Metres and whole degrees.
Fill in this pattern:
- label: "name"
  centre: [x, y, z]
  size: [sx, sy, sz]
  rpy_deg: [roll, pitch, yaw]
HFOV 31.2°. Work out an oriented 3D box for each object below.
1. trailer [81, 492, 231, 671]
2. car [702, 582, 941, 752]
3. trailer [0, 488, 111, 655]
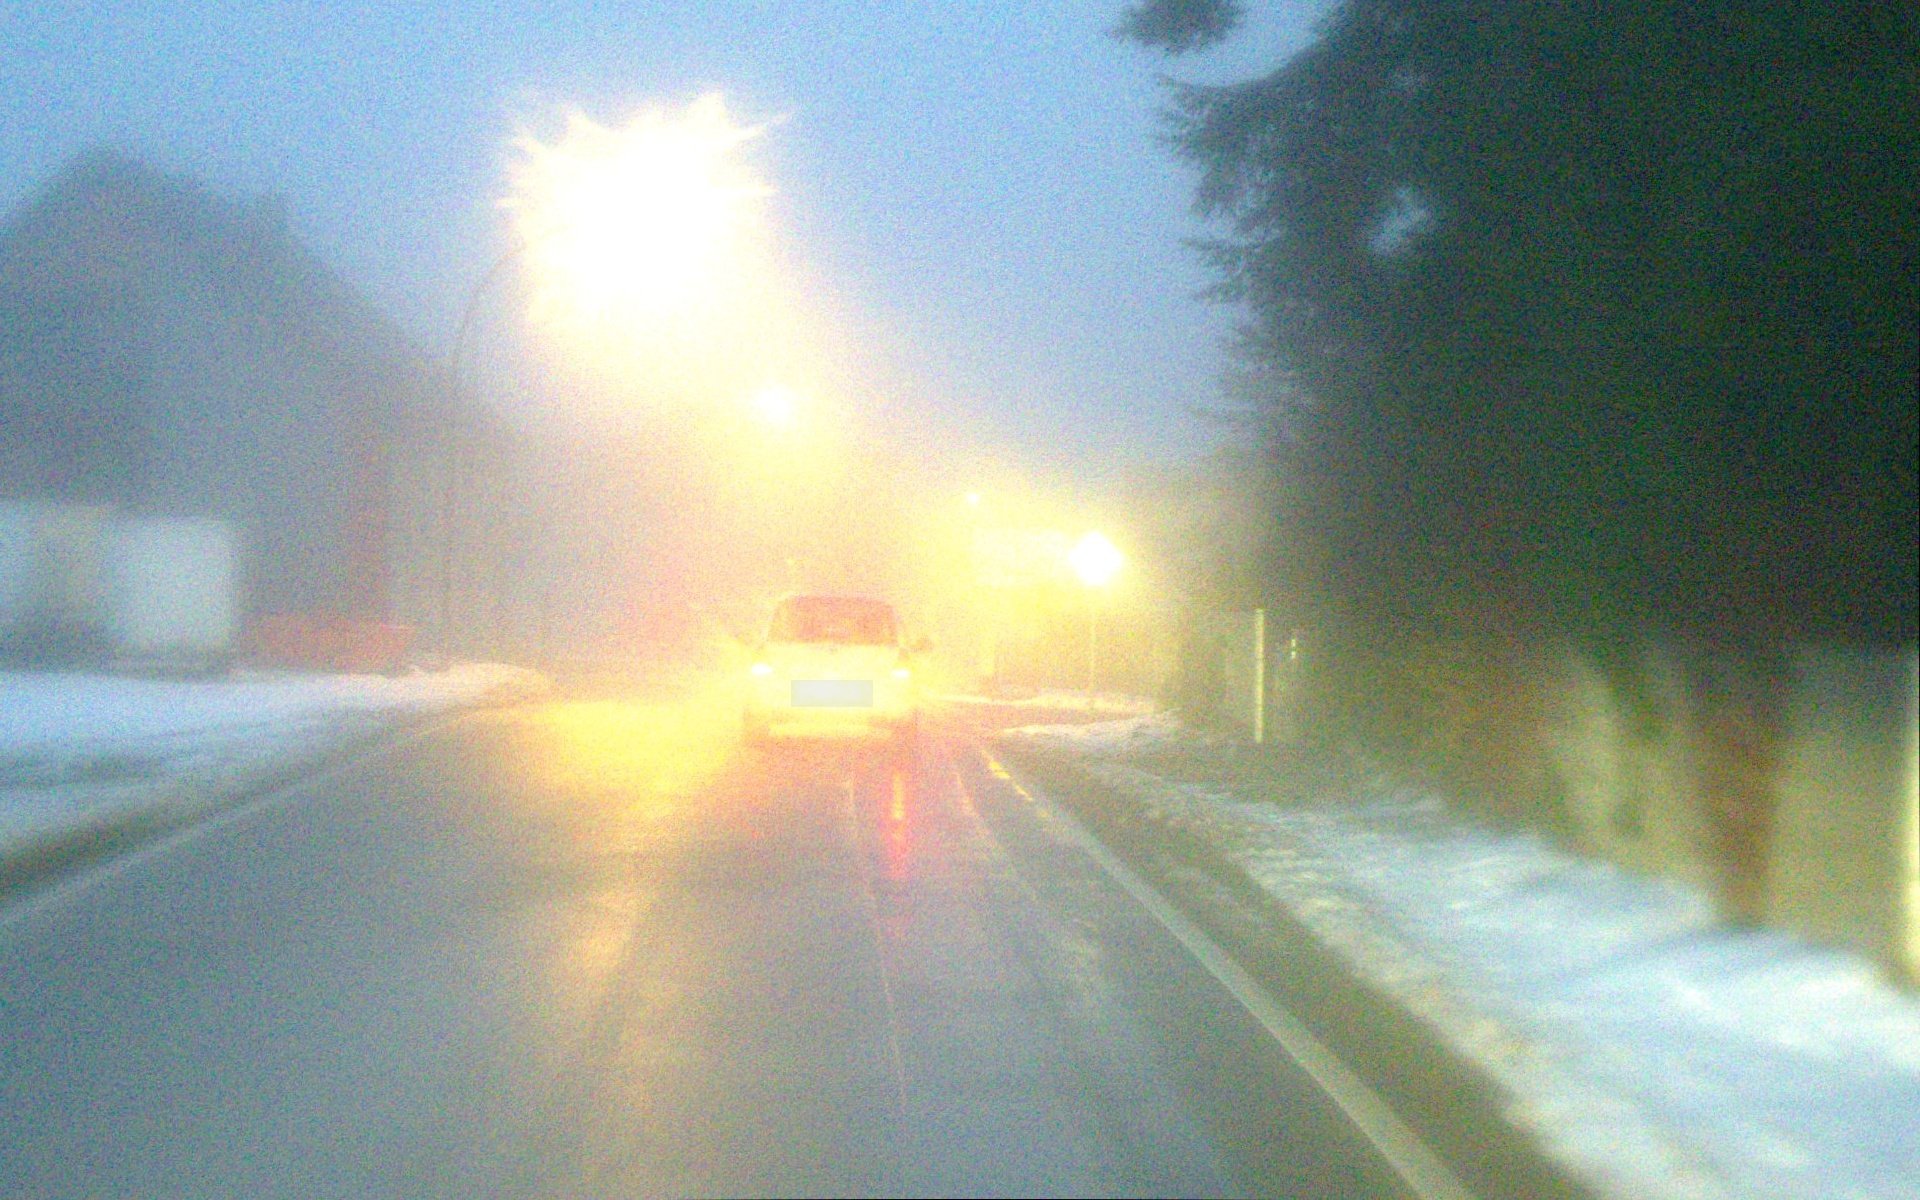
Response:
- label: "trailer"
  centre: [-12.137, -0.286, 51.795]
  size: [1.689, 2.596, 3.446]
  rpy_deg: [-1, 0, -22]
- label: "car"
  centre: [-1.245, 0.588, 32.587]
  size: [1.993, 1.503, 4.000]
  rpy_deg: [0, 0, 2]
- label: "trailer"
  centre: [-14.836, -0.432, 53.326]
  size: [1.994, 2.481, 4.009]
  rpy_deg: [0, 0, 6]
